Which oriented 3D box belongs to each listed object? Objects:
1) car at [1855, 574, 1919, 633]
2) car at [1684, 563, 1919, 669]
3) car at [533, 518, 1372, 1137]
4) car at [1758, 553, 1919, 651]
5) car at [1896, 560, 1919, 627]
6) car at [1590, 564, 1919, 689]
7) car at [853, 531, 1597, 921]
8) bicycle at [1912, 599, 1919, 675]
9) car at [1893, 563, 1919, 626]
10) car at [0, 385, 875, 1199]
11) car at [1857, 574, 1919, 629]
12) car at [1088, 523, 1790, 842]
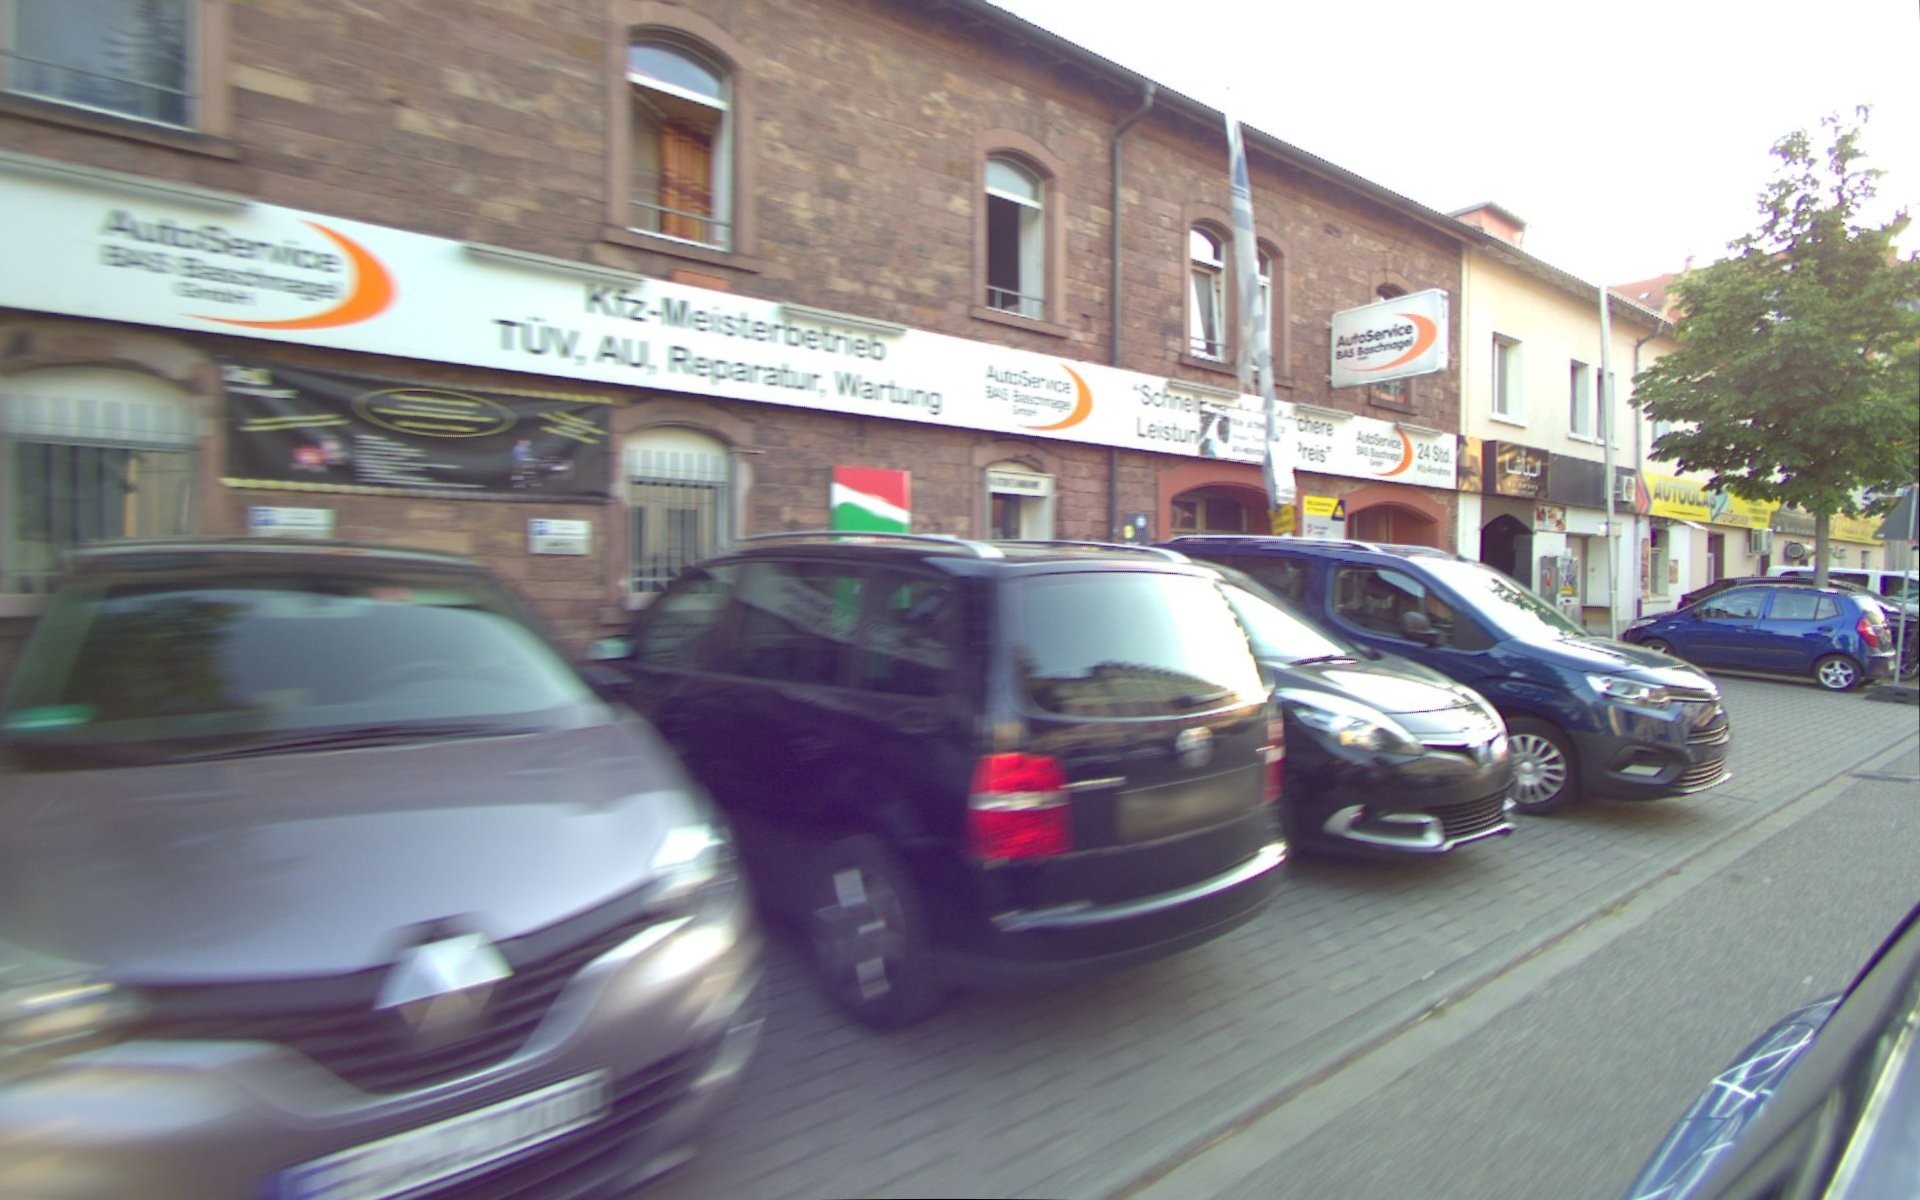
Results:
[{"bbox_3d":[26.382,0.141,26.751,1.650,1.514,3.796,-1,4,-39],"label":"car"},{"bbox_3d":[16.854,0.271,19.116,1.962,1.650,4.713,0,5,-36],"label":"car"},{"bbox_3d":[-0.440,0.471,4.806,1.861,1.638,3.997,-1,4,-40],"label":"car"},{"bbox_3d":[20.792,0.065,22.260,1.974,1.883,4.606,-1,6,-36],"label":"car"},{"bbox_3d":[32.703,-0.203,31.440,2.109,2.127,4.979,-2,2,-33],"label":"car"},{"bbox_3d":[12.984,0.315,16.659,1.811,1.564,4.000,-1,5,-38],"label":"car"},{"bbox_3d":[1.356,0.440,6.732,1.946,1.594,4.426,0,4,-40],"label":"car"},{"bbox_3d":[16.109,0.591,16.734,1.731,1.207,0.309,-1,1,-39],"label":"bicycle"},{"bbox_3d":[30.765,-0.085,29.907,1.962,1.880,4.309,0,3,-34],"label":"car"},{"bbox_3d":[-2.179,0.464,3.263,1.790,1.585,3.951,-1,1,-42],"label":"car"},{"bbox_3d":[28.460,0.116,28.299,1.964,1.514,4.736,-1,4,-38],"label":"car"},{"bbox_3d":[3.526,0.346,8.383,1.981,1.775,4.800,1,4,-39],"label":"car"}]
